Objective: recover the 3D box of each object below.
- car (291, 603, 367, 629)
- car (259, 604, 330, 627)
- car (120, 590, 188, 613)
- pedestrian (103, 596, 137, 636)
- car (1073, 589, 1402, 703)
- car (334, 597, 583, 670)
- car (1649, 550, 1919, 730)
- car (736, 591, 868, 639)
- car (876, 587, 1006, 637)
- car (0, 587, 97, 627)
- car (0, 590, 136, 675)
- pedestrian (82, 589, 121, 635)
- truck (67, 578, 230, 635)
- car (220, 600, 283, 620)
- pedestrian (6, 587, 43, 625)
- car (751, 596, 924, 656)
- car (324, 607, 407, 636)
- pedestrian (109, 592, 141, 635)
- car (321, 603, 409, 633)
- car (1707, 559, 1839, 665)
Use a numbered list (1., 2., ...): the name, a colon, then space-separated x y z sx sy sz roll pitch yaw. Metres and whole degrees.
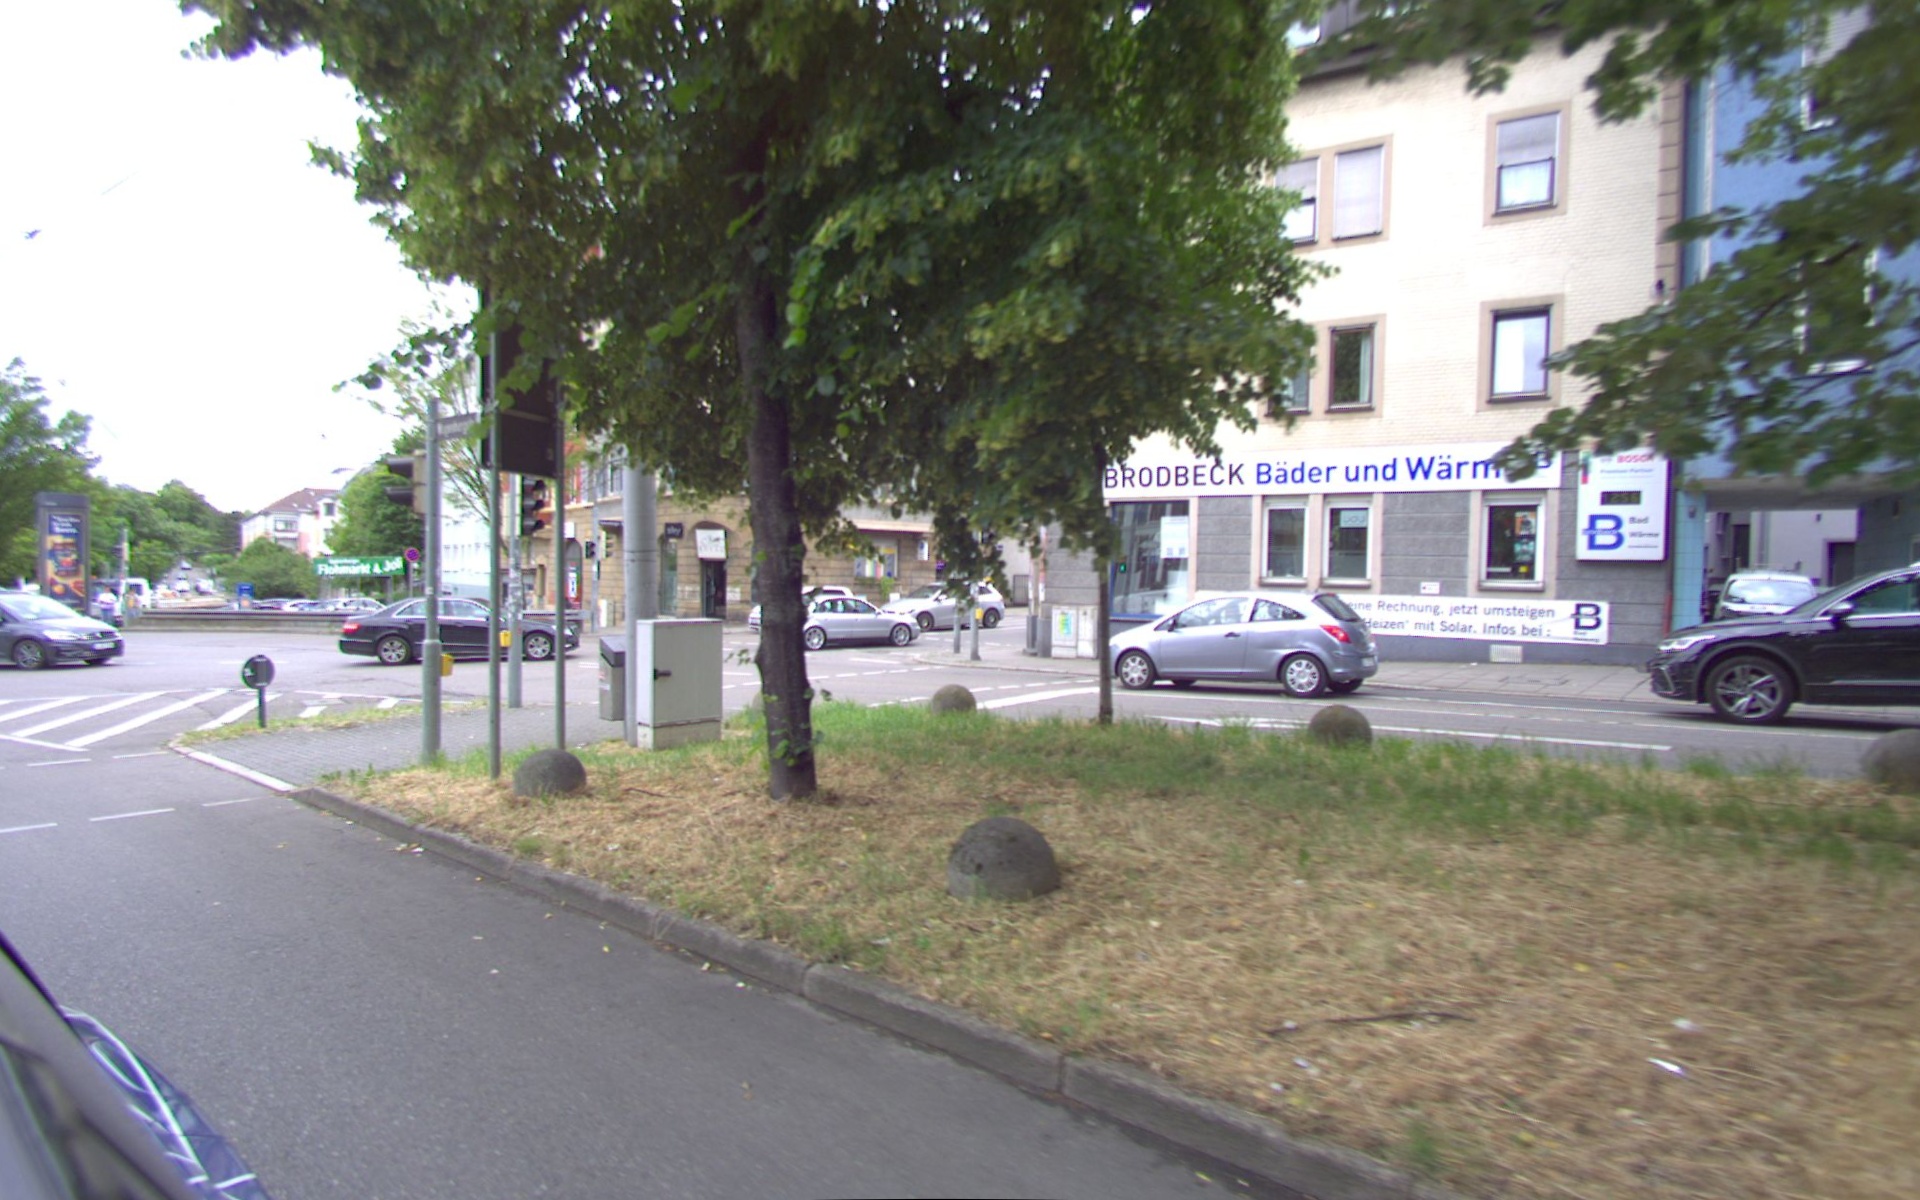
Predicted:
1. car: -41.949 1.072 67.310 3.869 1.610 1.898 0 1 -11
2. car: -48.378 1.117 73.641 3.869 1.610 1.898 0 1 -11
3. car: -64.566 0.085 81.106 1.878 1.717 3.910 1 2 18
4. pedestrian: -29.600 0.556 35.671 0.621 1.351 0.662 0 1 9
5. car: 3.900 0.628 14.655 4.290 1.417 1.652 -2 -2 39
6. car: -10.936 0.689 22.445 4.659 1.430 1.847 0 2 -15
7. car: 9.573 0.390 9.777 4.677 1.649 1.797 0 -1 41
8. car: -5.151 0.453 33.093 3.894 1.441 1.802 -1 2 -30
9. car: -0.581 0.341 32.458 3.989 1.484 1.655 -1 2 -38
10. car: -39.386 0.265 43.680 2.174 1.583 4.492 -1 2 -26
11. car: -20.545 0.639 21.515 4.666 1.626 1.858 1 2 3
12. pedestrian: -30.373 0.428 35.813 0.793 1.595 0.704 0 1 8
13. truck: -41.393 0.368 51.943 2.740 2.744 6.440 -1 -1 8
14. car: -58.939 0.810 84.289 3.869 1.610 1.898 0 1 -11
15. pedestrian: -49.565 0.315 53.635 1.257 1.973 0.924 1 1 18
16. car: -3.175 0.628 26.603 4.197 1.352 1.711 -2 3 -35
17. car: -35.584 1.274 60.634 3.875 1.610 1.895 0 1 -3
18. pedestrian: -29.094 0.463 35.264 0.594 1.443 0.603 0 1 9
19. car: -33.968 1.002 57.850 3.875 1.610 1.895 0 1 -3
20. car: 17.497 0.163 21.842 1.998 2.028 4.879 1 2 39
